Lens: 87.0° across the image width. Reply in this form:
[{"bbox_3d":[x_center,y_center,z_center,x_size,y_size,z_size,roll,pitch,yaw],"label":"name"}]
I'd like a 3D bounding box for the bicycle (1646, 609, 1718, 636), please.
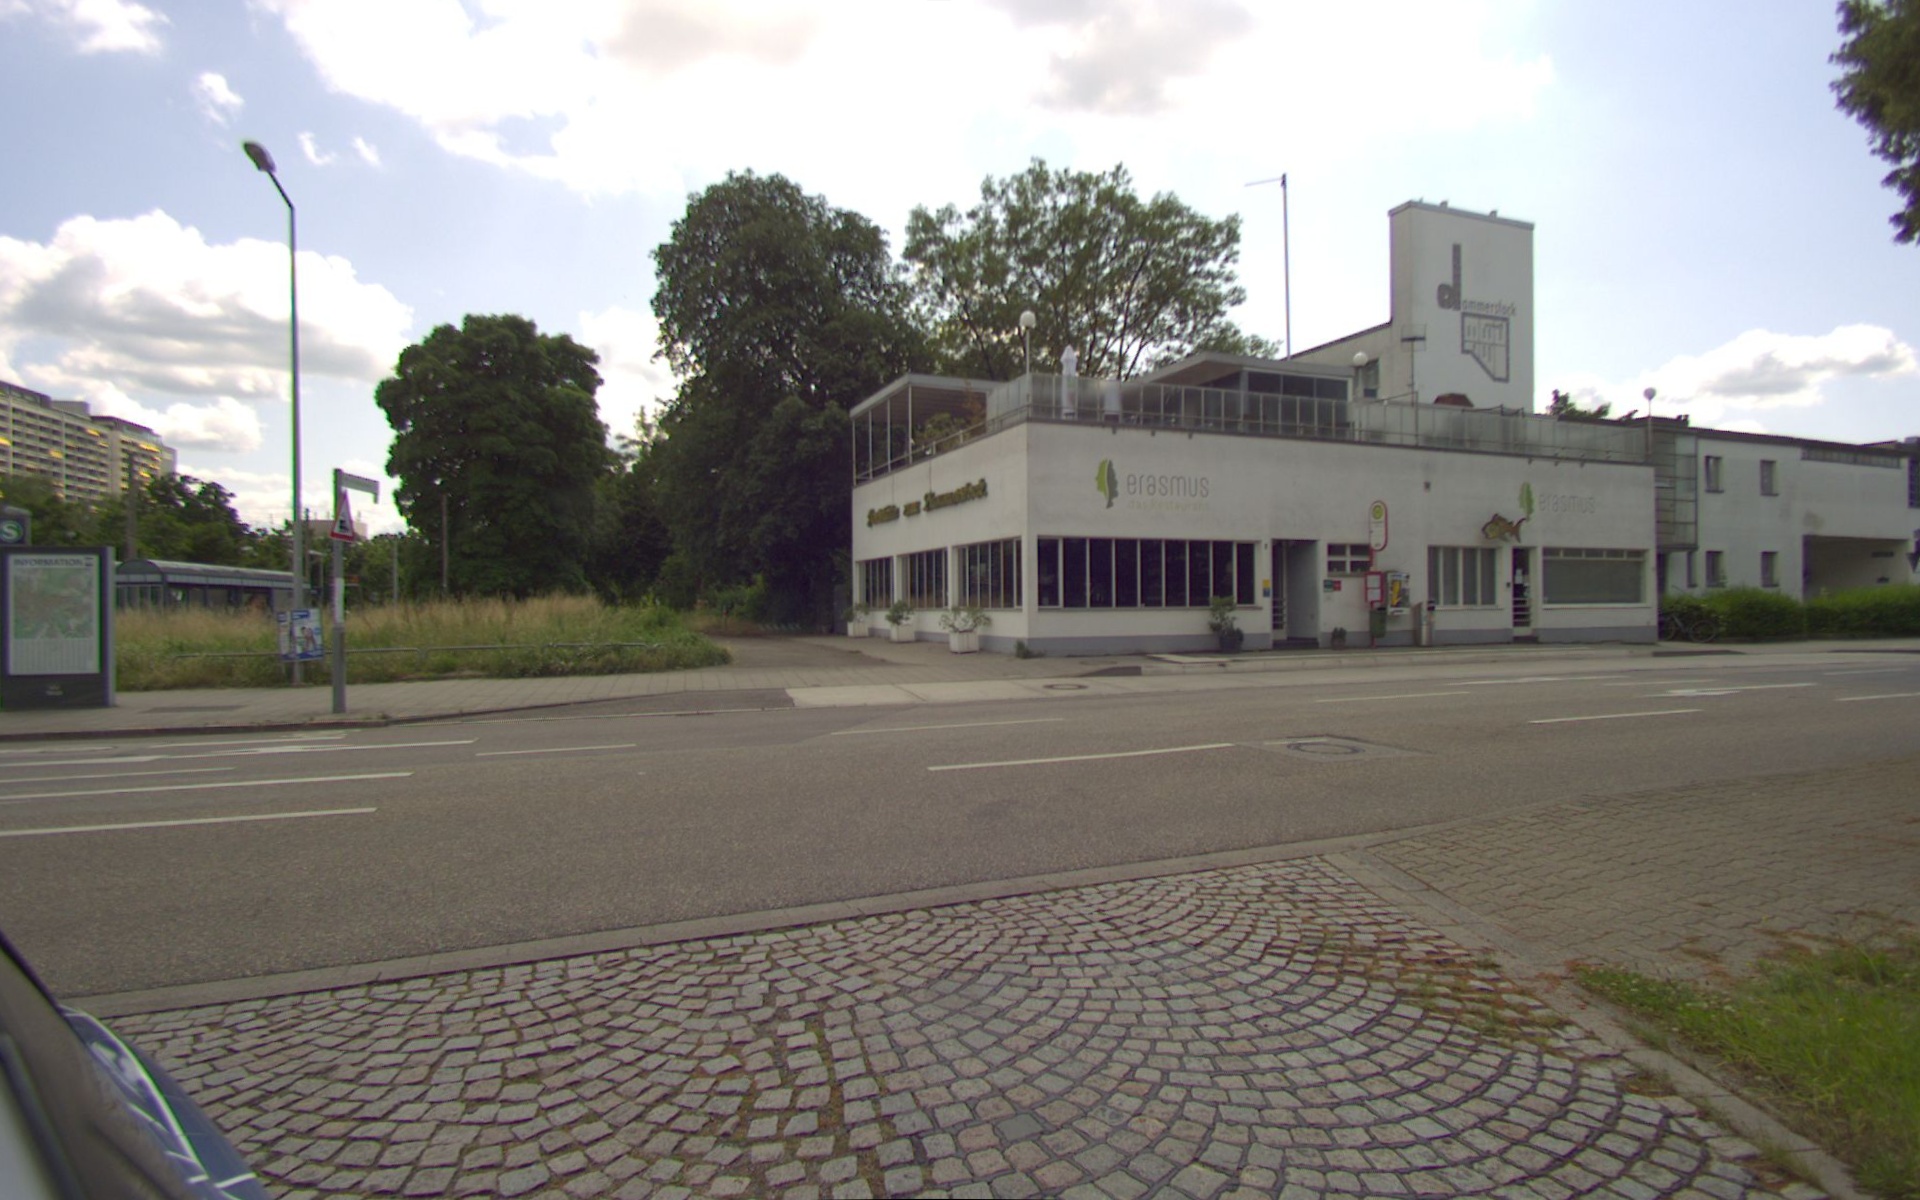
[{"bbox_3d":[21.464,0.664,30.099,0.404,0.763,1.678,-1,0,-40],"label":"bicycle"}]

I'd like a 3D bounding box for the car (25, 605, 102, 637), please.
[{"bbox_3d":[-58.394,1.326,66.024,1.788,1.933,5.248,-1,0,-17],"label":"car"}]
